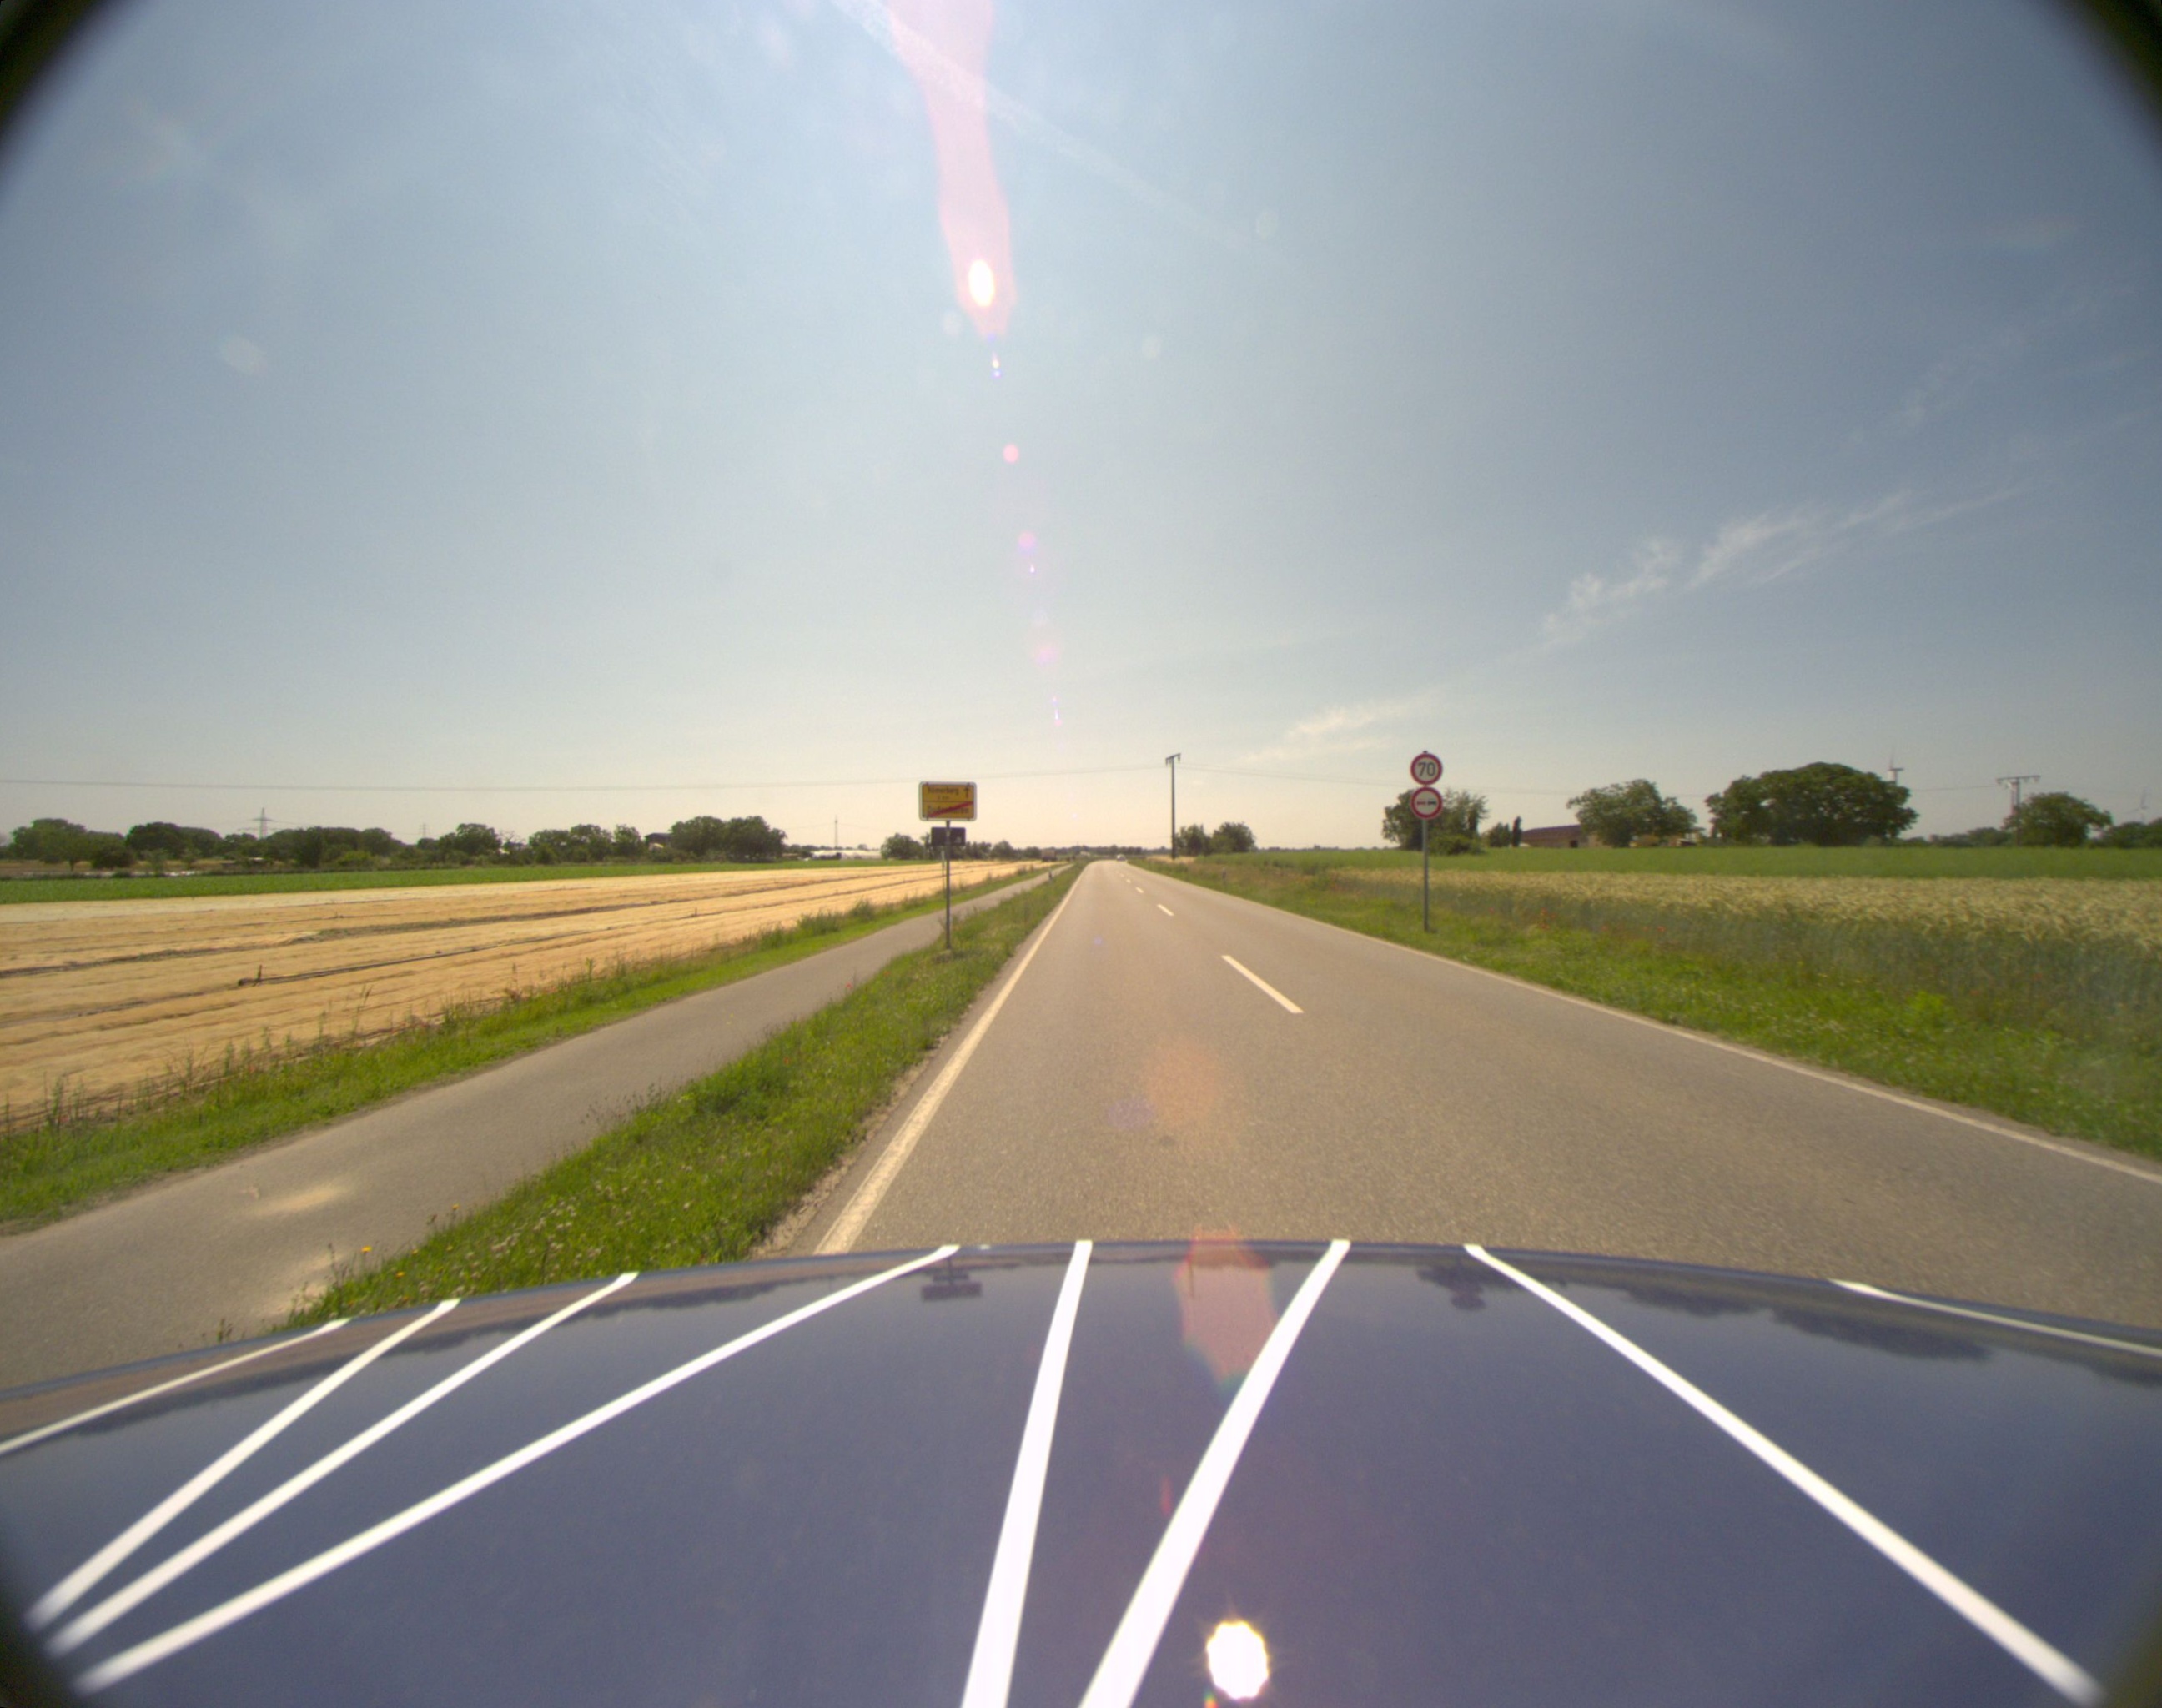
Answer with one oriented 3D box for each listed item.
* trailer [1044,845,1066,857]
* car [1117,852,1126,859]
[{"bbox_3d":[-6.648,-0.735,196.214,5.283,2.936,2.002,1,3,21],"label":"trailer"},{"bbox_3d":[9.155,0.325,171.738,1.795,1.401,4.186,1,1,4],"label":"car"}]
